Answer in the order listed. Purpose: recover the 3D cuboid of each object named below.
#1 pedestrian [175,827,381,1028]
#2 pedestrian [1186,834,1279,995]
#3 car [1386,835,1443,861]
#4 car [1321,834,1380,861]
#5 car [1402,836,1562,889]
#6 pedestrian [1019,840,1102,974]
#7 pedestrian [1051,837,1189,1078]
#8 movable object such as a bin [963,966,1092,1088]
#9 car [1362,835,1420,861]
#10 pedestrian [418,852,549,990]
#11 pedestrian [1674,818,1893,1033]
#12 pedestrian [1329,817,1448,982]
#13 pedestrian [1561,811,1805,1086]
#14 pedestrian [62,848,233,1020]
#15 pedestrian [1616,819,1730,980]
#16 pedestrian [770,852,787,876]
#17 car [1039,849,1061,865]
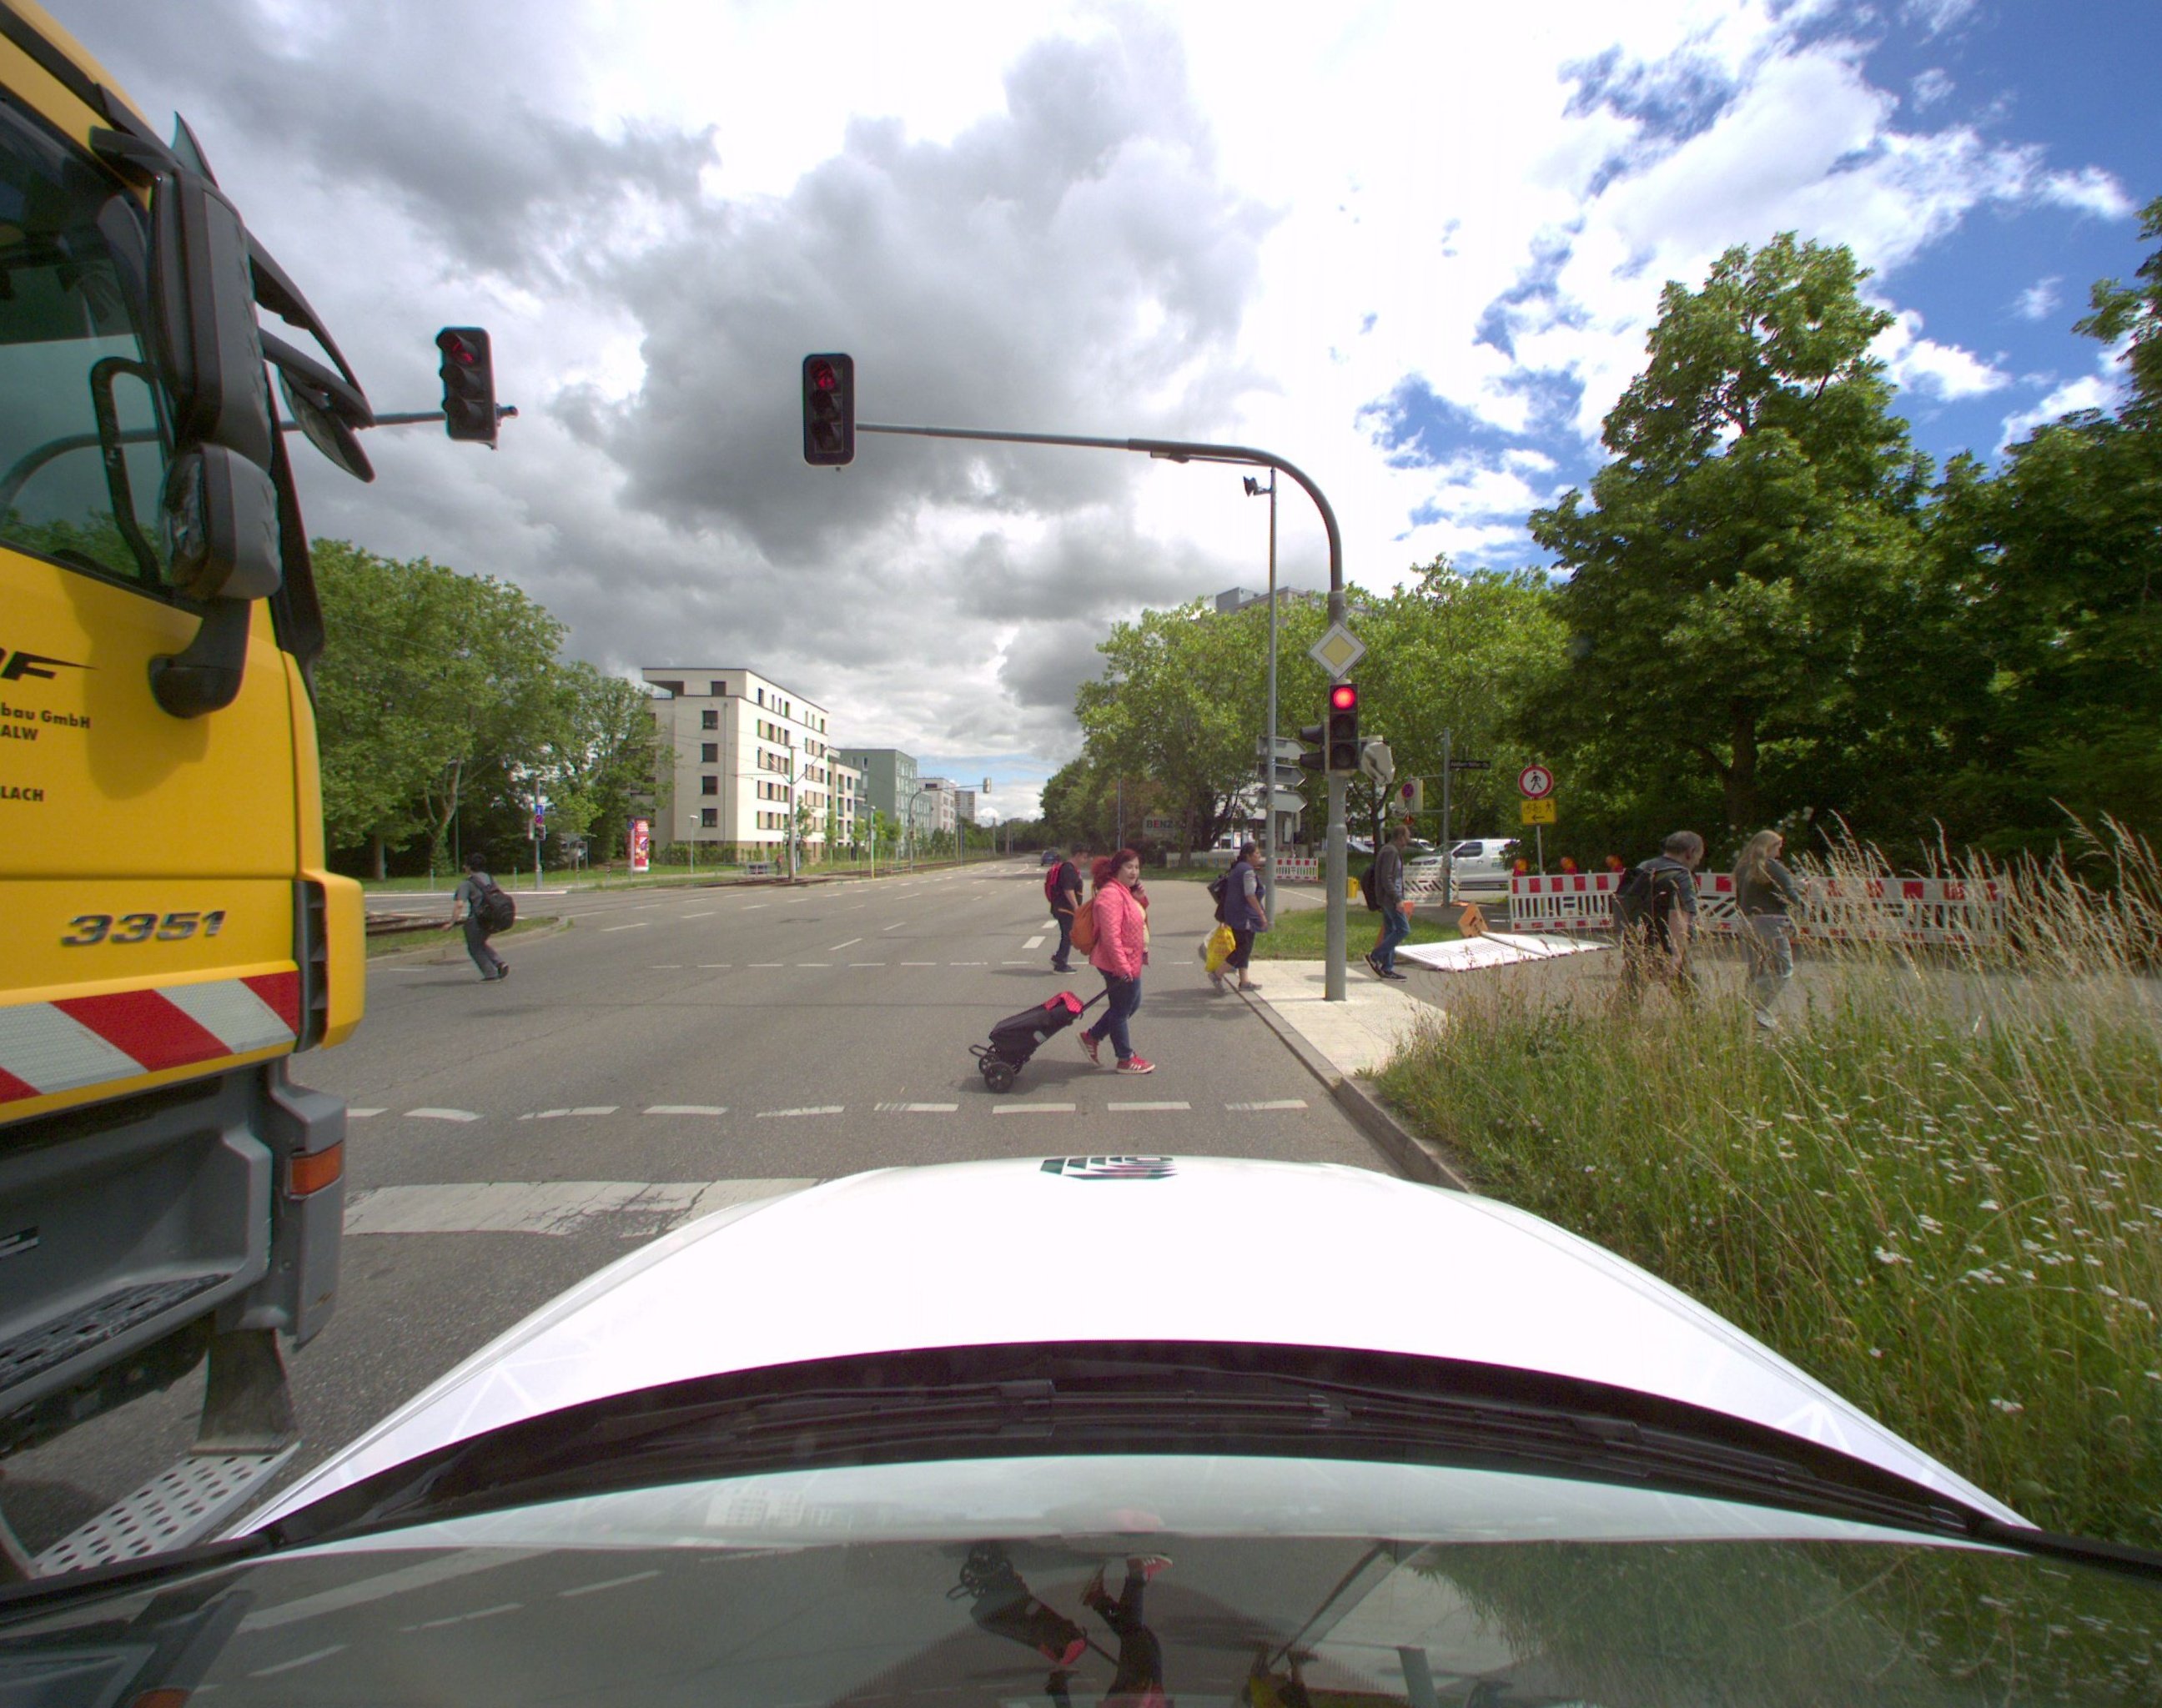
[{"bbox_3d":[-7.609,0.651,7.790,1.009,1.774,0.946,-1,0,-9],"label":"pedestrian"},{"bbox_3d":[1.634,0.605,8.680,0.906,1.607,0.933,-1,0,14],"label":"pedestrian"},{"bbox_3d":[27.316,-0.498,66.864,2.006,2.013,3.962,-1,0,-29],"label":"car"},{"bbox_3d":[20.570,-0.487,62.249,2.006,2.013,3.962,-1,0,-29],"label":"car"},{"bbox_3d":[14.920,0.301,30.454,5.063,1.874,1.947,-1,0,-2],"label":"car"},{"bbox_3d":[-0.236,0.633,10.199,0.888,1.596,0.910,-1,0,7],"label":"pedestrian"},{"bbox_3d":[0.267,0.671,5.651,0.877,1.554,0.747,-1,0,2],"label":"pedestrian"},{"bbox_3d":[-0.336,1.155,5.577,0.792,0.662,0.778,-1,0,2],"label":"movable object such as a bin"},{"bbox_3d":[24.601,-0.494,64.730,2.006,2.013,3.962,-1,0,-29],"label":"car"},{"bbox_3d":[-7.116,0.759,9.753,0.945,1.552,0.841,-1,0,-8],"label":"pedestrian"},{"bbox_3d":[5.733,0.549,6.727,1.015,1.648,0.931,-1,0,6],"label":"pedestrian"},{"bbox_3d":[3.453,0.489,9.238,0.998,1.773,0.930,-1,0,2],"label":"pedestrian"},{"bbox_3d":[3.885,0.571,5.349,0.955,1.648,0.881,-1,0,2],"label":"pedestrian"},{"bbox_3d":[-9.342,0.764,8.178,0.863,1.634,0.767,-1,0,10],"label":"pedestrian"},{"bbox_3d":[6.734,0.497,9.304,0.776,1.742,0.831,-1,0,13],"label":"pedestrian"},{"bbox_3d":[-19.149,0.613,51.574,0.827,1.516,0.636,-1,0,1],"label":"pedestrian"},{"bbox_3d":[-3.010,0.266,78.710,1.978,1.486,4.485,-1,0,-4],"label":"car"}]
